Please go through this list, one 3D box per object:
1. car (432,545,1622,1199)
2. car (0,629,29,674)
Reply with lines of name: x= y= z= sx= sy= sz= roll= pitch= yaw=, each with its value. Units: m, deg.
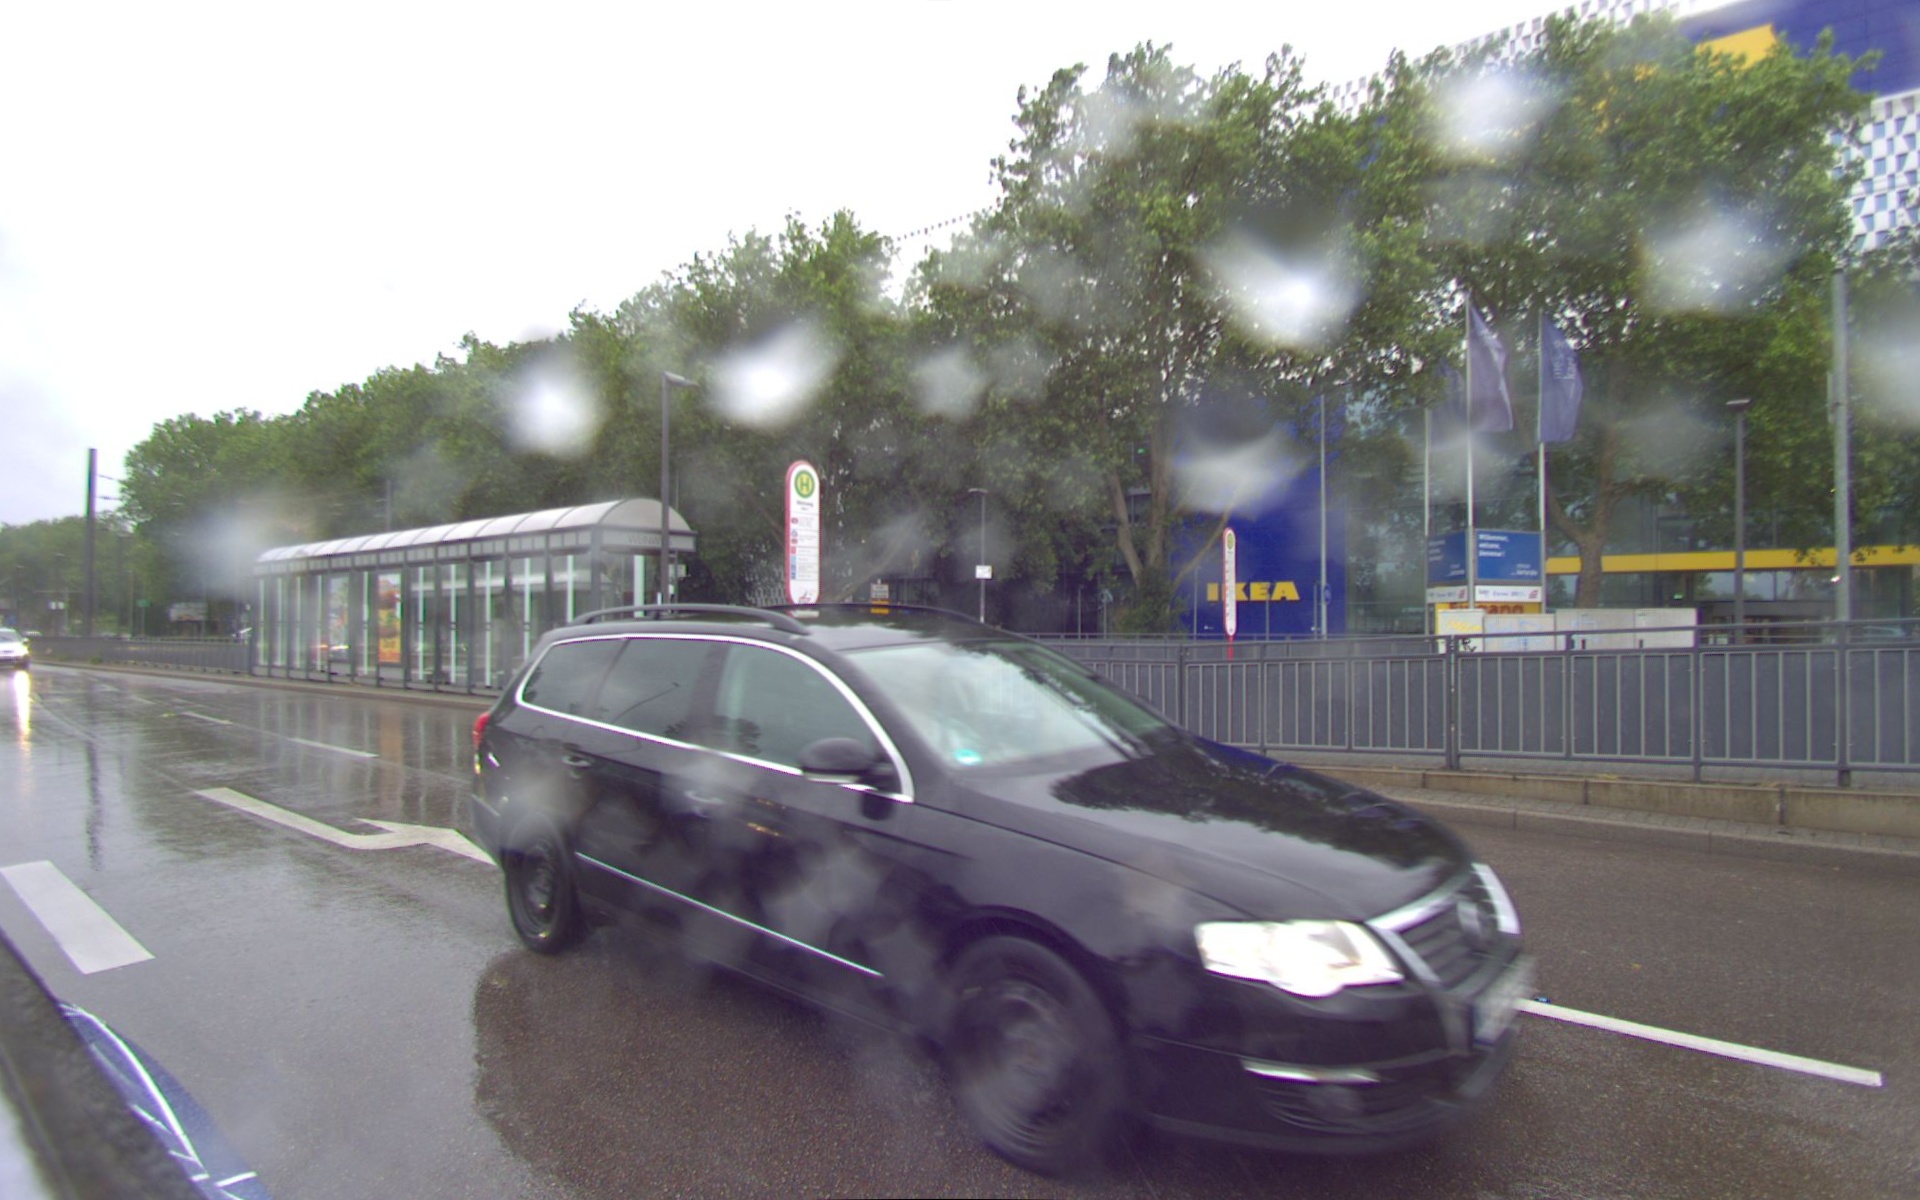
car: x=-0.270 y=0.675 z=3.984 sx=4.596 sy=1.512 sz=1.752 roll=-1 pitch=0 yaw=43
car: x=-37.498 y=1.962 z=39.079 sx=3.997 sy=1.618 sz=1.771 roll=-1 pitch=0 yaw=40
